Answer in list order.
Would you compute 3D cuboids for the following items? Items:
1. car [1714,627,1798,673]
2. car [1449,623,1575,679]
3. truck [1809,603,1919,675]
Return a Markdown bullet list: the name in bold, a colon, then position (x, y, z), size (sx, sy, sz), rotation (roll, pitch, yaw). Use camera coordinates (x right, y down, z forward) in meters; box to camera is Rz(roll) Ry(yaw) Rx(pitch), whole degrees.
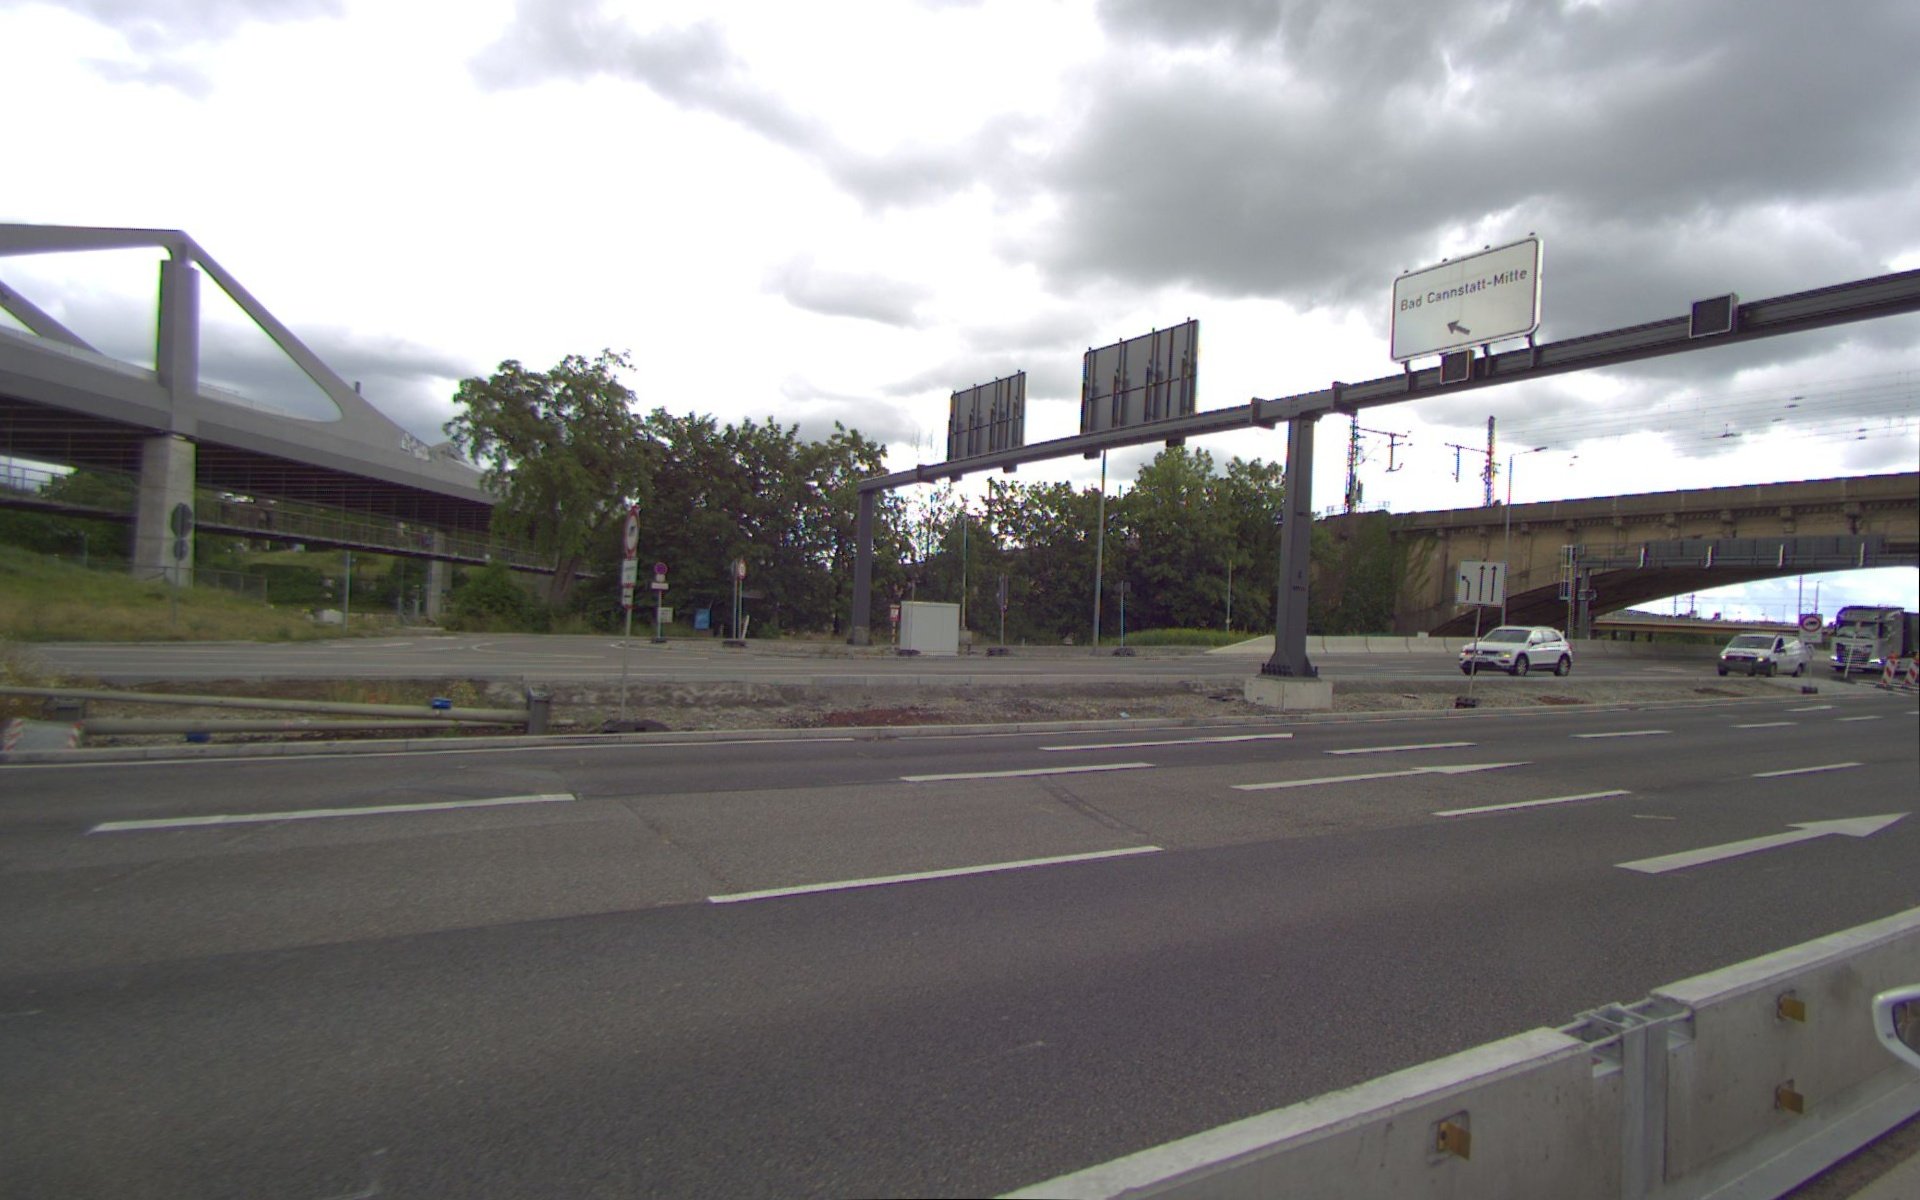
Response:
- **car**: position (34.483, 2.163, 43.488), size (3.762, 1.831, 1.814), rotation (2, -1, -34)
- **car**: position (18.001, 1.659, 32.706), size (4.241, 1.684, 1.790), rotation (2, -1, -33)
- **truck**: position (57.765, 2.480, 62.192), size (13.811, 4.115, 2.888), rotation (2, -1, -28)
